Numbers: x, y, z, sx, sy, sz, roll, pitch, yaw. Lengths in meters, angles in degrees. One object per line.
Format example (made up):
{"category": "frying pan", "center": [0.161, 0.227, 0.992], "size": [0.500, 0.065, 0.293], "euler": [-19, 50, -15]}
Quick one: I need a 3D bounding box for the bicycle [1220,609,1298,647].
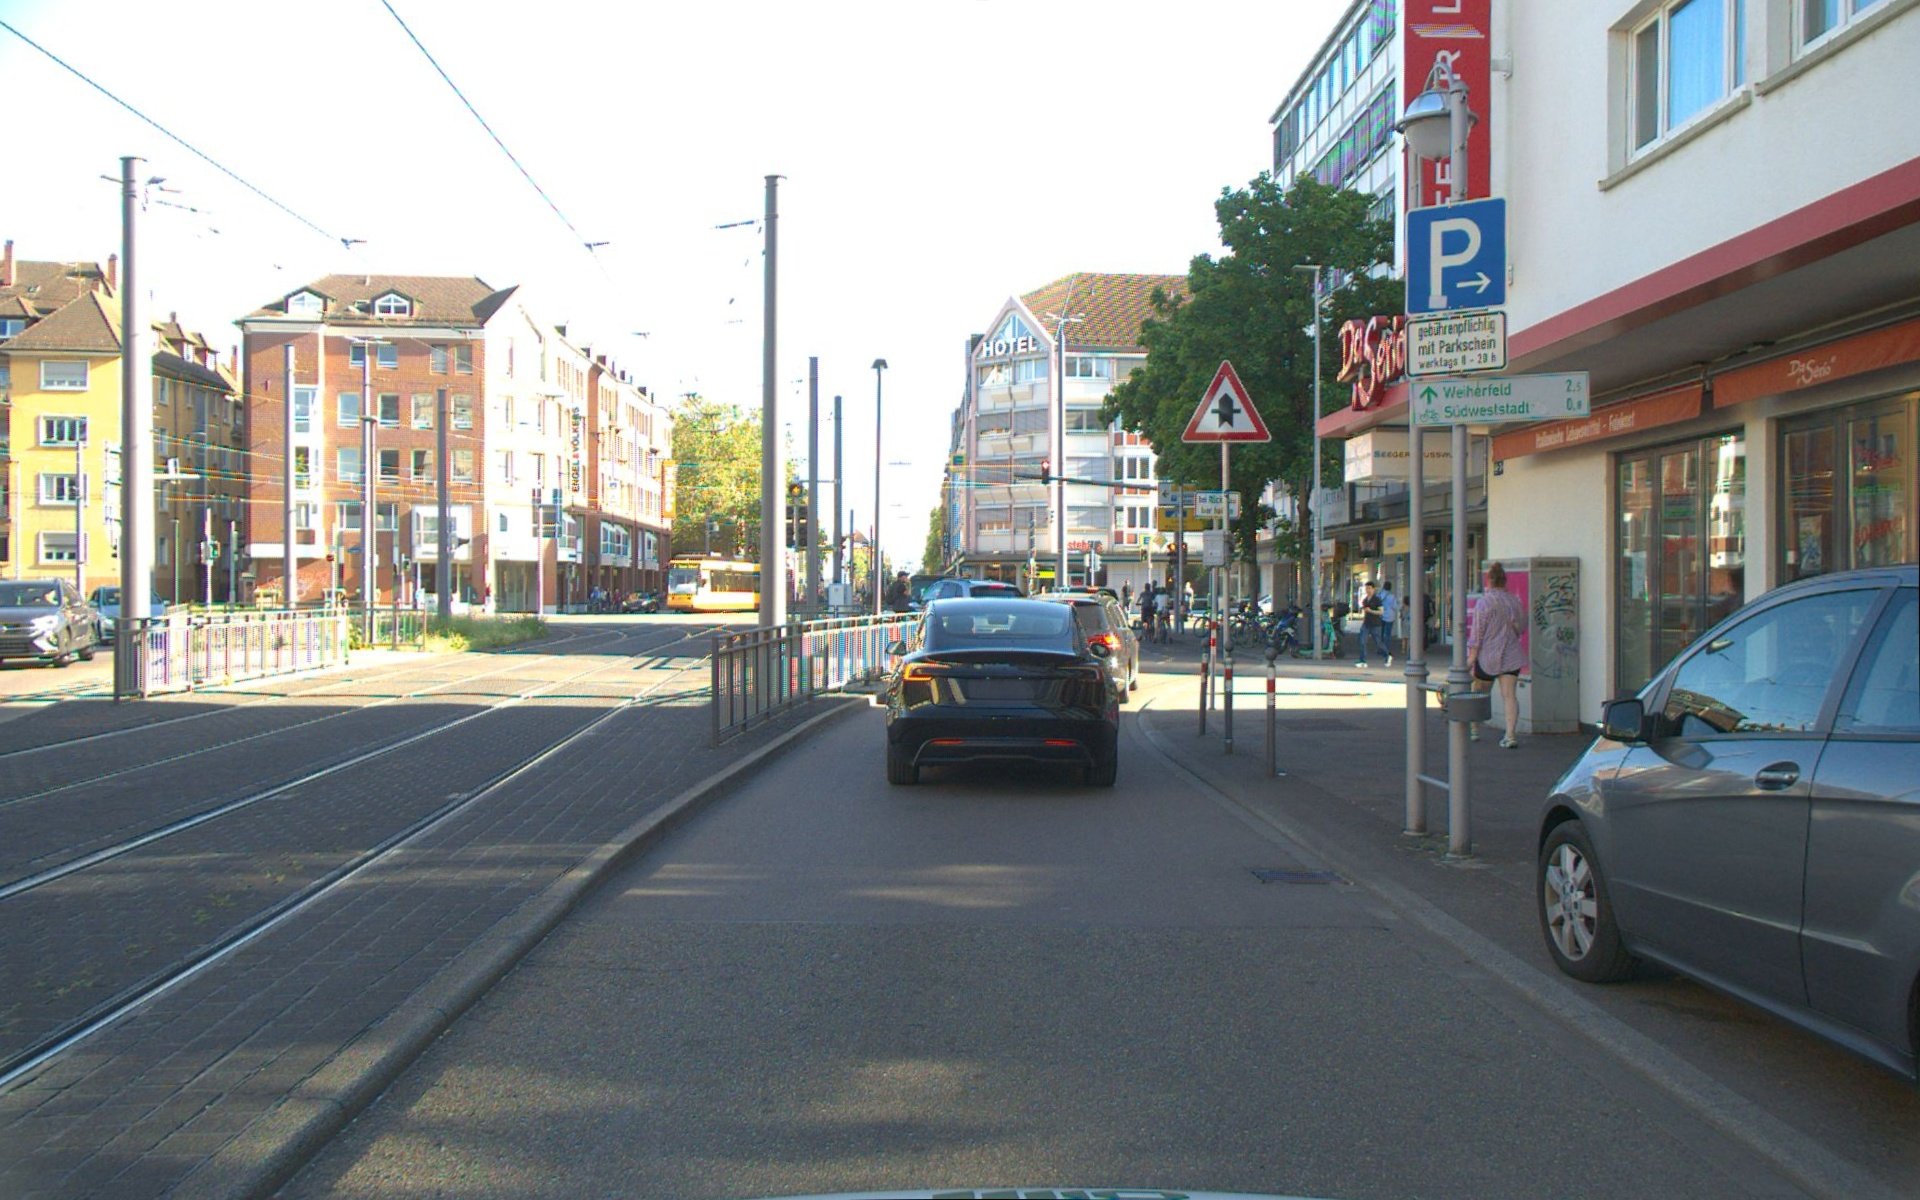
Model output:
{"category": "bicycle", "center": [8.031, 0.746, 44.475], "size": [2.009, 0.999, 0.483], "euler": [1, 0, 0]}

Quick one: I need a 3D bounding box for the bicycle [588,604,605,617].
{"category": "bicycle", "center": [-24.173, 0.684, 109.986], "size": [0.688, 0.869, 2.053], "euler": [0, 0, -1]}

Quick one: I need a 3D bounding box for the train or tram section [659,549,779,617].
{"category": "train or tram section", "center": [-14.423, -0.912, 100.588], "size": [2.617, 3.780, 14.204], "euler": [2, 0, 11]}

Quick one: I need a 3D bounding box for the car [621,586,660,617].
{"category": "car", "center": [-22.105, 0.087, 114.428], "size": [1.953, 2.049, 3.999], "euler": [0, 0, -1]}

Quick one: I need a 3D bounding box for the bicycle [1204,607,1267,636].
{"category": "bicycle", "center": [8.752, 0.679, 52.557], "size": [1.885, 0.906, 0.526], "euler": [1, 0, 0]}

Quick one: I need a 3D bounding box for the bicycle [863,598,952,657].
{"category": "bicycle", "center": [-1.072, 0.553, 33.426], "size": [1.696, 1.107, 0.677], "euler": [2, 0, -9]}

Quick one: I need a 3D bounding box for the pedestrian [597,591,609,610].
{"category": "pedestrian", "center": [-24.246, 0.031, 112.257], "size": [0.682, 1.331, 0.564], "euler": [0, 0, -2]}

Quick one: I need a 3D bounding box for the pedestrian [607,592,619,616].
{"category": "pedestrian", "center": [-24.342, 0.273, 116.012], "size": [0.698, 1.696, 0.563], "euler": [2, 0, -10]}

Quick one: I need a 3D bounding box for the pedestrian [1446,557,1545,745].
{"category": "pedestrian", "center": [5.073, 0.470, 15.649], "size": [0.800, 1.712, 0.714], "euler": [2, 0, 22]}

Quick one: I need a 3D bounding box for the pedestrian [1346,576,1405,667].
{"category": "pedestrian", "center": [8.291, 0.434, 32.995], "size": [0.992, 1.772, 0.524], "euler": [2, 0, -26]}

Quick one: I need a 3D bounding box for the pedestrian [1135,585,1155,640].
{"category": "pedestrian", "center": [5.877, 0.386, 52.489], "size": [0.550, 1.712, 0.750], "euler": [1, 0, 4]}

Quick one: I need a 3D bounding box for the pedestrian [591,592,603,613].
{"category": "pedestrian", "center": [-24.172, 0.147, 110.083], "size": [0.697, 1.365, 0.666], "euler": [0, 0, -1]}

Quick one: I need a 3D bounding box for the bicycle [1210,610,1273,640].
{"category": "bicycle", "center": [8.757, 0.772, 51.455], "size": [1.885, 0.903, 0.526], "euler": [1, 0, 0]}

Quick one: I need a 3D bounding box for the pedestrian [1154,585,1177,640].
{"category": "pedestrian", "center": [6.270, 0.377, 50.380], "size": [0.616, 1.642, 0.643], "euler": [1, 0, 2]}

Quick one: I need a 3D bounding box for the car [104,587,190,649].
{"category": "car", "center": [-22.232, 0.452, 45.351], "size": [1.757, 1.595, 4.264], "euler": [-1, 1, -22]}

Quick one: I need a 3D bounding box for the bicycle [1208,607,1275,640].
{"category": "bicycle", "center": [8.411, 0.701, 49.433], "size": [1.885, 0.967, 0.526], "euler": [1, 0, 0]}

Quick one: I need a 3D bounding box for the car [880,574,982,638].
{"category": "car", "center": [-0.826, 0.137, 43.943], "size": [1.793, 1.545, 4.203], "euler": [2, 0, -14]}

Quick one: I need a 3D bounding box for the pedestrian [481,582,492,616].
{"category": "pedestrian", "center": [-28.540, -0.079, 99.700], "size": [0.555, 2.049, 0.349], "euler": [2, 0, -16]}

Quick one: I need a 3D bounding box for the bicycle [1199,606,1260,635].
{"category": "bicycle", "center": [8.713, 0.662, 53.537], "size": [1.885, 0.906, 0.526], "euler": [1, 0, 0]}

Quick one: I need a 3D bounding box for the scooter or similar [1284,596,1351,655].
{"category": "scooter or similar", "center": [8.194, 0.589, 37.933], "size": [1.392, 1.340, 0.690], "euler": [0, -2, -27]}

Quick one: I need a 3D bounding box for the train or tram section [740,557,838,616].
{"category": "train or tram section", "center": [-11.690, -0.818, 115.122], "size": [2.580, 3.783, 15.399], "euler": [2, 0, 10]}

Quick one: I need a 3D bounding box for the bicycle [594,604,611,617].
{"category": "bicycle", "center": [-24.247, 0.696, 112.199], "size": [0.688, 0.869, 2.053], "euler": [0, 0, -1]}

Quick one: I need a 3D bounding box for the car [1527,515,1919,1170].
{"category": "car", "center": [3.262, 0.588, 5.097], "size": [1.710, 1.660, 3.648], "euler": [-1, 1, -1]}

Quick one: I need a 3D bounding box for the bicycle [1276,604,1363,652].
{"category": "bicycle", "center": [8.753, 0.671, 40.322], "size": [2.009, 1.141, 0.483], "euler": [1, 0, 0]}

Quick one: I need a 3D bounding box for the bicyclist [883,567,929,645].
{"category": "bicyclist", "center": [-1.090, 0.120, 33.491], "size": [0.821, 1.526, 0.559], "euler": [2, 0, -9]}

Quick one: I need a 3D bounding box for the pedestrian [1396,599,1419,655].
{"category": "pedestrian", "center": [10.561, 0.631, 39.042], "size": [0.411, 1.303, 0.531], "euler": [-1, 0, 0]}

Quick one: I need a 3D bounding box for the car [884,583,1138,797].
{"category": "car", "center": [0.297, 0.654, 13.860], "size": [1.812, 1.510, 3.785], "euler": [1, 0, -2]}

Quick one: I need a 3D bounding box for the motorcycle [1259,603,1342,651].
{"category": "motorcycle", "center": [8.691, 0.686, 42.255], "size": [1.951, 1.147, 0.596], "euler": [2, 0, -2]}

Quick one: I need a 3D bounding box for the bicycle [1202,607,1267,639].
{"category": "bicycle", "center": [8.359, 0.701, 50.448], "size": [1.885, 0.967, 0.526], "euler": [1, 0, 0]}

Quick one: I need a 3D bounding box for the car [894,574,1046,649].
{"category": "car", "center": [0.154, 0.230, 37.472], "size": [1.761, 1.545, 4.183], "euler": [2, 0, -26]}

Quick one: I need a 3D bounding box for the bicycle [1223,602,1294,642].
{"category": "bicycle", "center": [8.395, 0.615, 46.488], "size": [1.885, 1.116, 0.554], "euler": [1, 0, 0]}

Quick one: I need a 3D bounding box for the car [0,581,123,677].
{"category": "car", "center": [-16.039, 0.456, 28.770], "size": [1.735, 1.538, 4.264], "euler": [0, 0, -14]}

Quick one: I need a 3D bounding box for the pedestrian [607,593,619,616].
{"category": "pedestrian", "center": [-23.967, 0.301, 114.301], "size": [0.698, 1.582, 0.563], "euler": [2, 0, -10]}

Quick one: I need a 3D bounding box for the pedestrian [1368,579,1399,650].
{"category": "pedestrian", "center": [9.950, 0.338, 38.837], "size": [0.583, 1.670, 0.466], "euler": [-1, 0, 0]}

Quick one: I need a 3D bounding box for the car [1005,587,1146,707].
{"category": "car", "center": [1.672, 0.566, 22.774], "size": [1.618, 1.443, 4.003], "euler": [2, 1, 8]}

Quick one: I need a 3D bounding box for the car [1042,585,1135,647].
{"category": "car", "center": [3.398, 0.411, 44.258], "size": [1.789, 1.545, 3.644], "euler": [2, 0, -6]}
